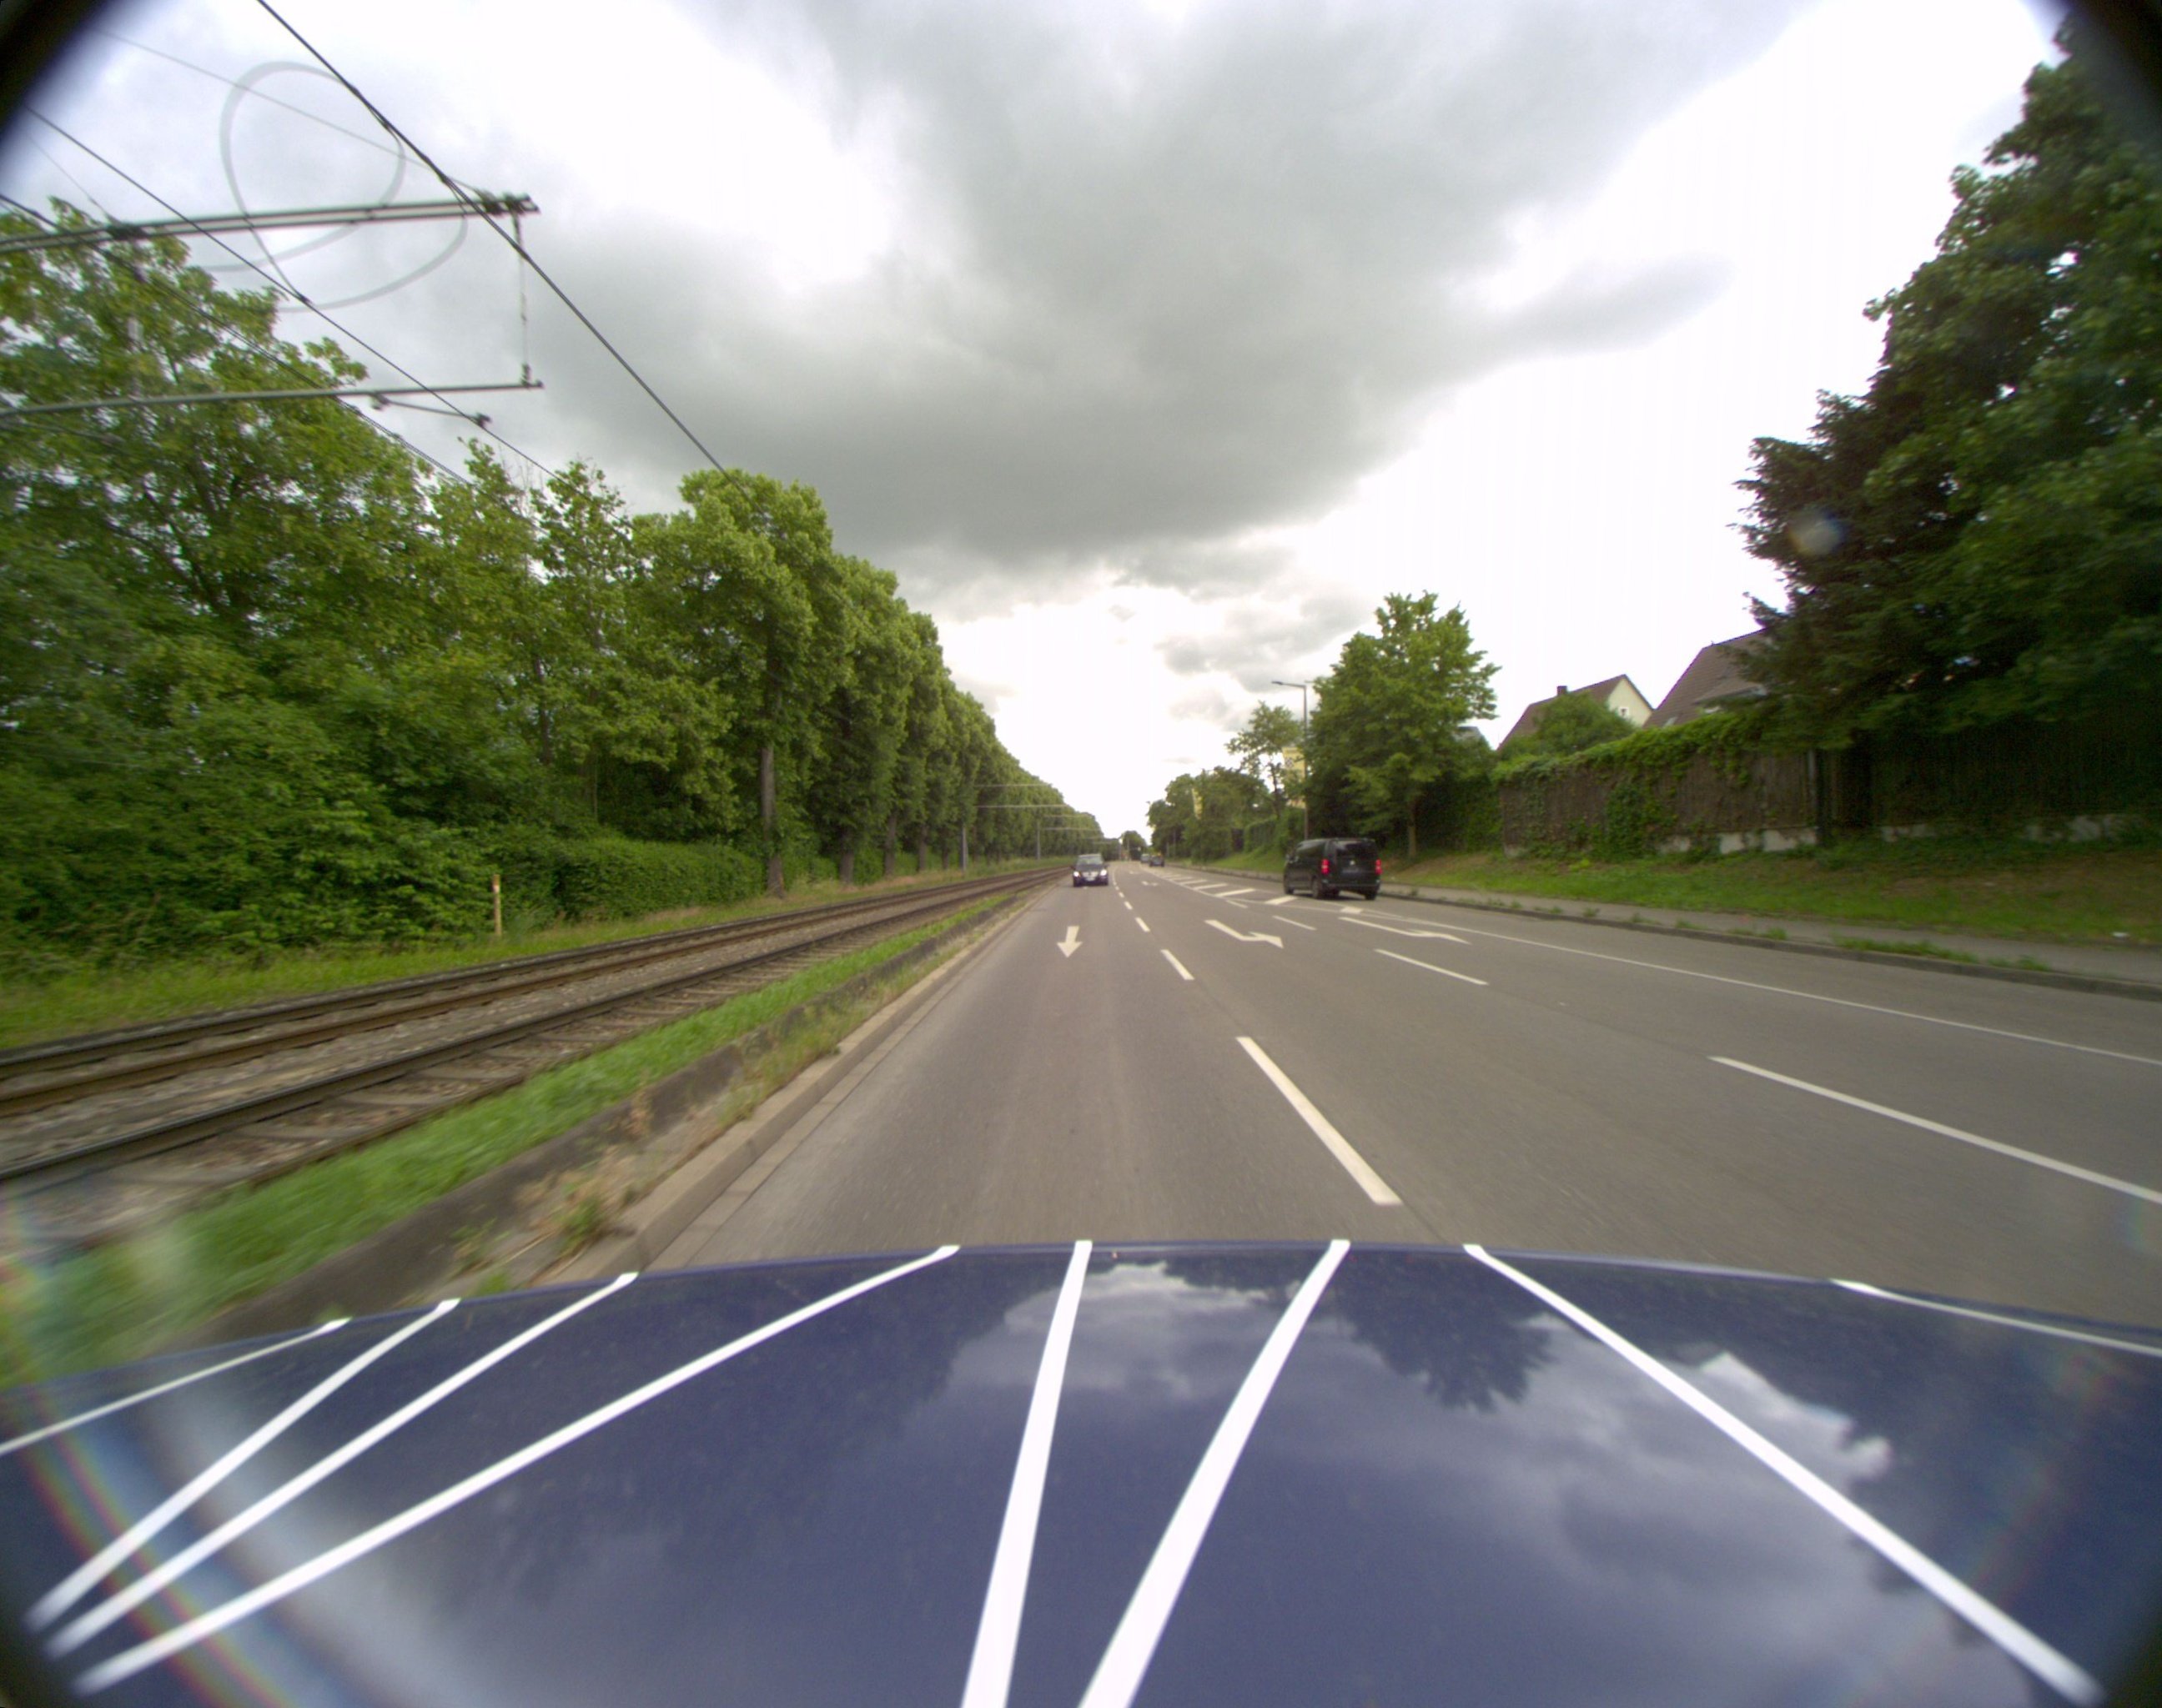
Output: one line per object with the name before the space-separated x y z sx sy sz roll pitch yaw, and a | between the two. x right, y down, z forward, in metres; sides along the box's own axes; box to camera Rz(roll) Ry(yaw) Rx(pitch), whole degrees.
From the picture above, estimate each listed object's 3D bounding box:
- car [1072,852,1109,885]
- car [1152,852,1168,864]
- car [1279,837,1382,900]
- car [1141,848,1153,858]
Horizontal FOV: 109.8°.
car | 0.536 0.741 40.581 1.807 1.520 3.929 -3 1 2
car | 9.870 0.504 95.208 1.657 1.414 4.008 0 1 2
car | 8.045 0.425 24.994 1.808 1.893 4.688 0 0 -1
car | 11.517 -0.198 133.133 1.807 1.520 3.929 -3 1 2
